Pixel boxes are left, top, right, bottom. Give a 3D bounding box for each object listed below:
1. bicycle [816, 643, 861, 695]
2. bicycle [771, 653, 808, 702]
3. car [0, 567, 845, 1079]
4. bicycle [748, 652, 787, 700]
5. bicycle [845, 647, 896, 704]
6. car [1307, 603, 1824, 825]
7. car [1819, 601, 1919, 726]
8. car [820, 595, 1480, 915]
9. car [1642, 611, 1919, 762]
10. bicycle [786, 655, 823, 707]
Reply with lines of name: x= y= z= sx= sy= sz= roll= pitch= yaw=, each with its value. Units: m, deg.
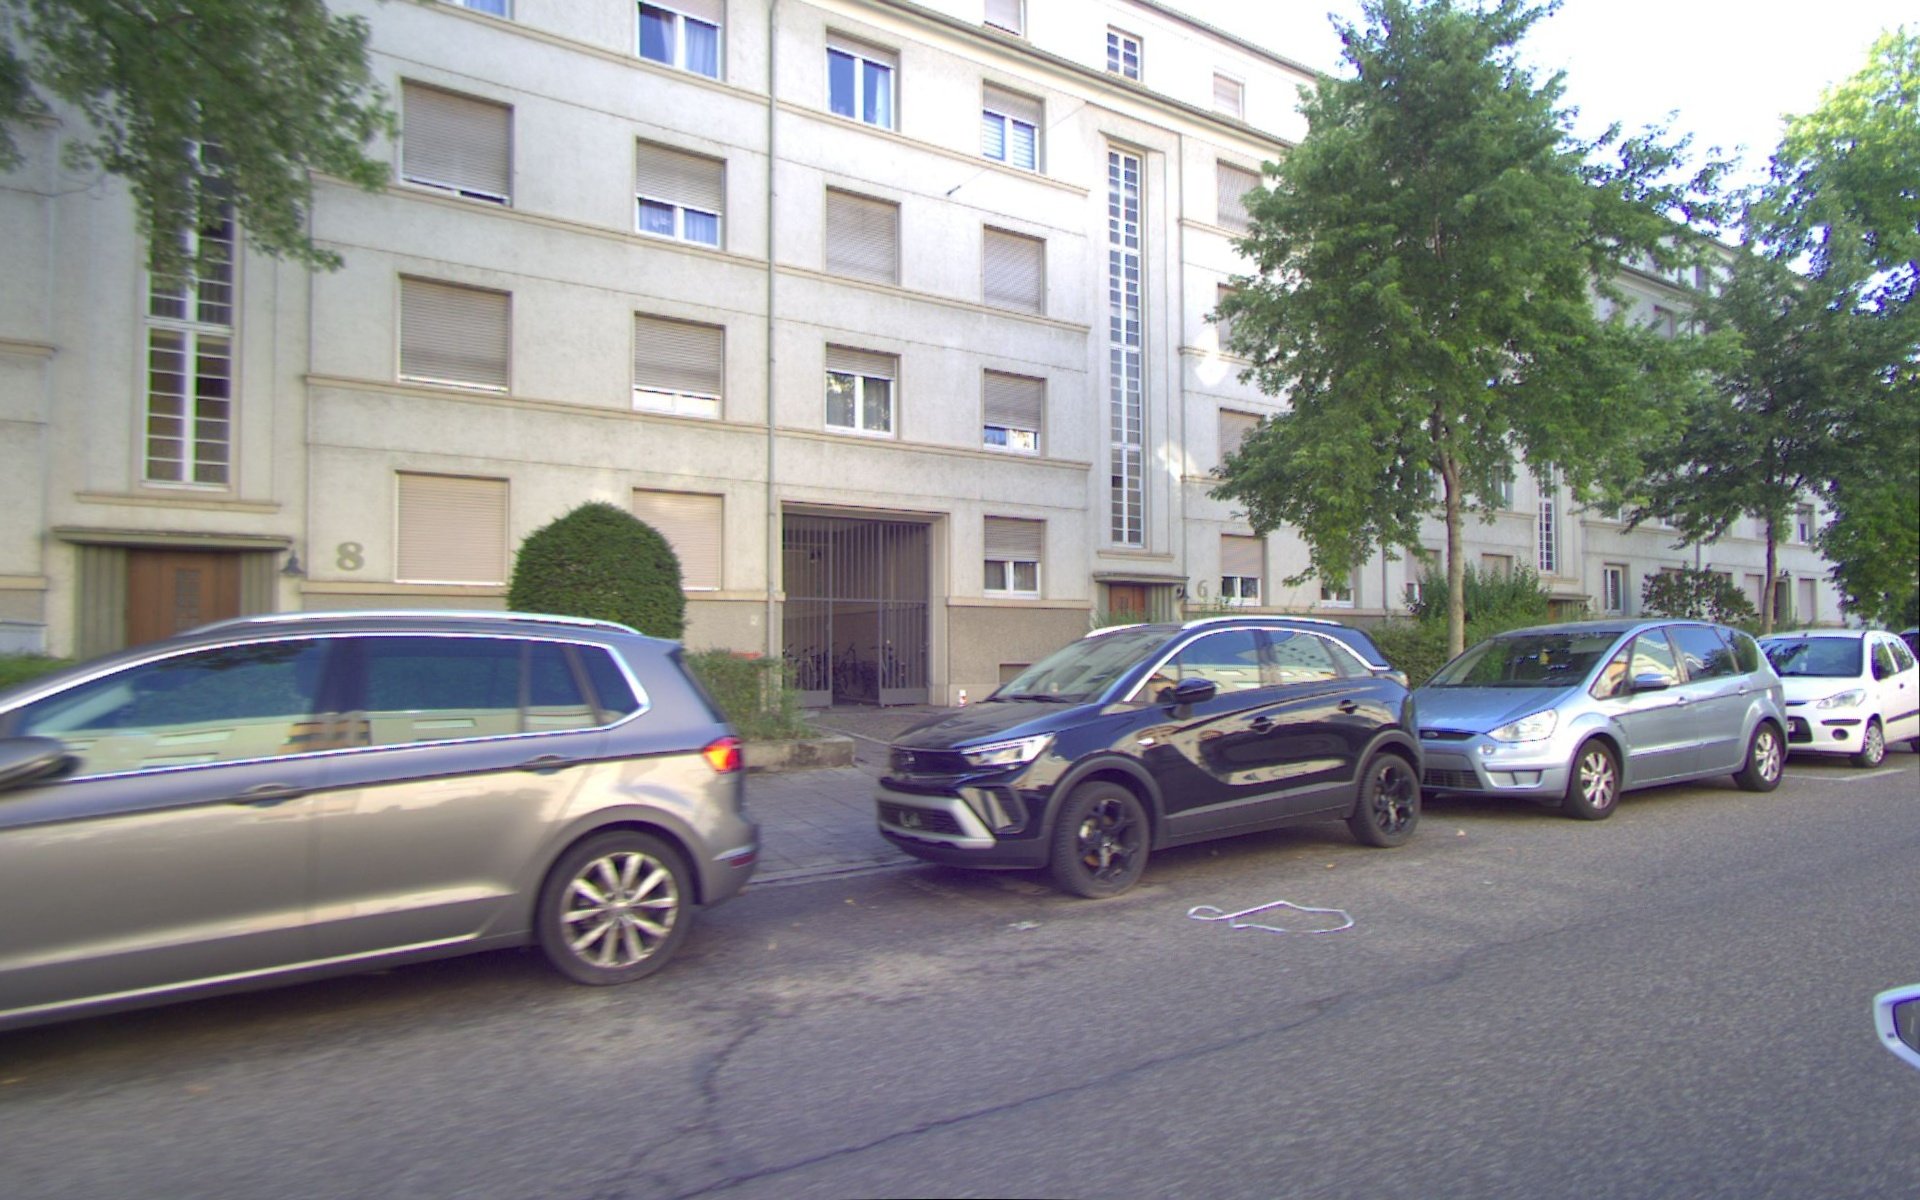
bicycle: x=-2.968 y=1.659 z=24.344 sx=0.489 sy=1.126 sz=2.223 roll=2 pitch=-1 yaw=-22
bicycle: x=-4.435 y=2.000 z=26.312 sx=0.487 sy=1.126 sz=2.236 roll=2 pitch=-1 yaw=2
car: x=-2.856 y=0.777 z=4.333 sx=4.296 sy=1.578 sz=1.948 roll=2 pitch=-5 yaw=-31
bicycle: x=-5.081 y=1.985 z=26.615 sx=0.487 sy=1.126 sz=2.236 roll=2 pitch=-1 yaw=2
bicycle: x=-2.019 y=1.650 z=22.312 sx=0.489 sy=1.126 sz=2.223 roll=2 pitch=-1 yaw=-22
car: x=5.691 y=0.939 z=9.264 sx=4.998 sy=1.578 sz=1.863 roll=1 pitch=-6 yaw=-31
car: x=15.166 y=0.957 z=15.117 sx=4.916 sy=1.699 sz=1.907 roll=2 pitch=-1 yaw=-31
car: x=1.400 y=0.882 z=6.901 sx=4.315 sy=1.578 sz=1.862 roll=2 pitch=-4 yaw=-31
car: x=10.413 y=0.994 z=12.326 sx=4.053 sy=1.579 sz=1.862 roll=2 pitch=-2 yaw=-31
bicycle: x=-3.859 y=1.994 z=25.049 sx=0.487 sy=1.126 sz=2.236 roll=2 pitch=-1 yaw=2
